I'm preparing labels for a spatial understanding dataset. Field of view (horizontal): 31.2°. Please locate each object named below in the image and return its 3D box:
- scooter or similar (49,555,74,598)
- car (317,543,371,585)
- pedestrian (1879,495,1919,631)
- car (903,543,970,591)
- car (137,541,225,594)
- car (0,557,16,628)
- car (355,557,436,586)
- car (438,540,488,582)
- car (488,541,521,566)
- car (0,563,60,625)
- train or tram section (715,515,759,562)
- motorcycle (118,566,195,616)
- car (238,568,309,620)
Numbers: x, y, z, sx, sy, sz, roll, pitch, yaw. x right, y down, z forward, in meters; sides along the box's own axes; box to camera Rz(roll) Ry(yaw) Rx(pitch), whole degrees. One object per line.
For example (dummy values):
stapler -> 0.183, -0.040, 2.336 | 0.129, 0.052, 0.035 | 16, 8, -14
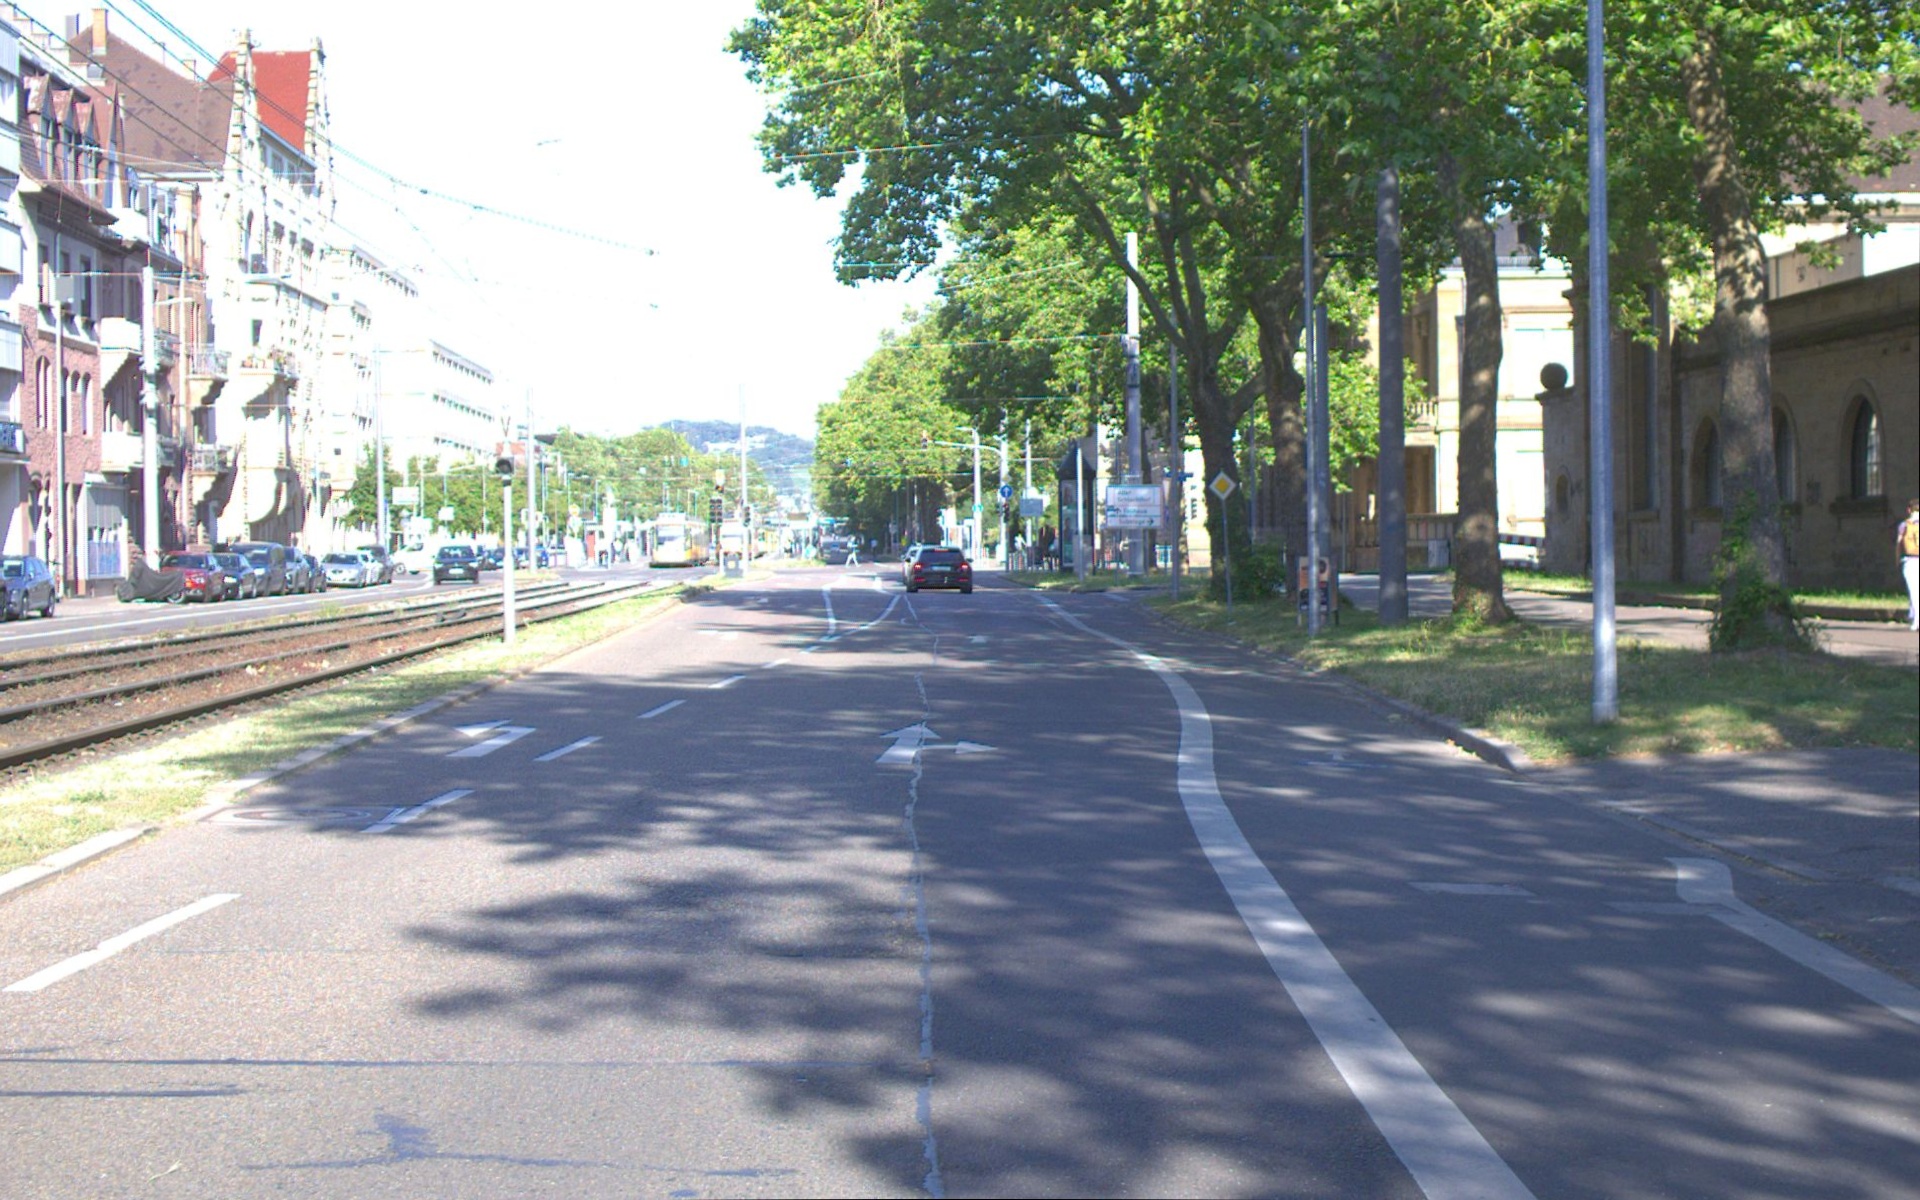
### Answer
scooter or similar -> -25.618, -0.662, 98.034 | 0.391, 1.201, 1.200 | 2, 0, -1
car -> -24.323, -1.435, 135.848 | 1.794, 1.505, 4.001 | 3, 1, -7
pedestrian -> 12.074, -0.481, 43.420 | 0.608, 1.676, 0.636 | -5, 1, -4
car -> -0.736, -1.001, 103.030 | 1.833, 1.386, 4.159 | 0, 1, -3
car -> -23.242, -0.981, 102.661 | 1.794, 1.455, 4.267 | 3, 1, -3
car -> -21.889, -0.156, 74.354 | 1.833, 1.553, 4.353 | 1, 1, -1
car -> -31.087, -1.563, 189.200 | 3.989, 1.505, 1.799 | 1, 0, 13
car -> -20.091, -1.599, 139.039 | 1.635, 1.596, 4.160 | -2, 1, -4
car -> -28.159, -2.901, 212.616 | 1.794, 1.505, 4.001 | -1, 1, -4
car -> -22.295, -0.159, 79.669 | 1.833, 1.386, 4.683 | 0, 1, -3
train or tram section -> -16.517, -4.582, 255.532 | 2.825, 3.439, 9.065 | -1, 1, -1
motorcycle -> -23.133, -0.262, 98.994 | 2.067, 1.322, 0.841 | 2, 1, -17
car -> -23.514, -0.230, 117.867 | 1.686, 1.646, 4.200 | 3, 1, -2
